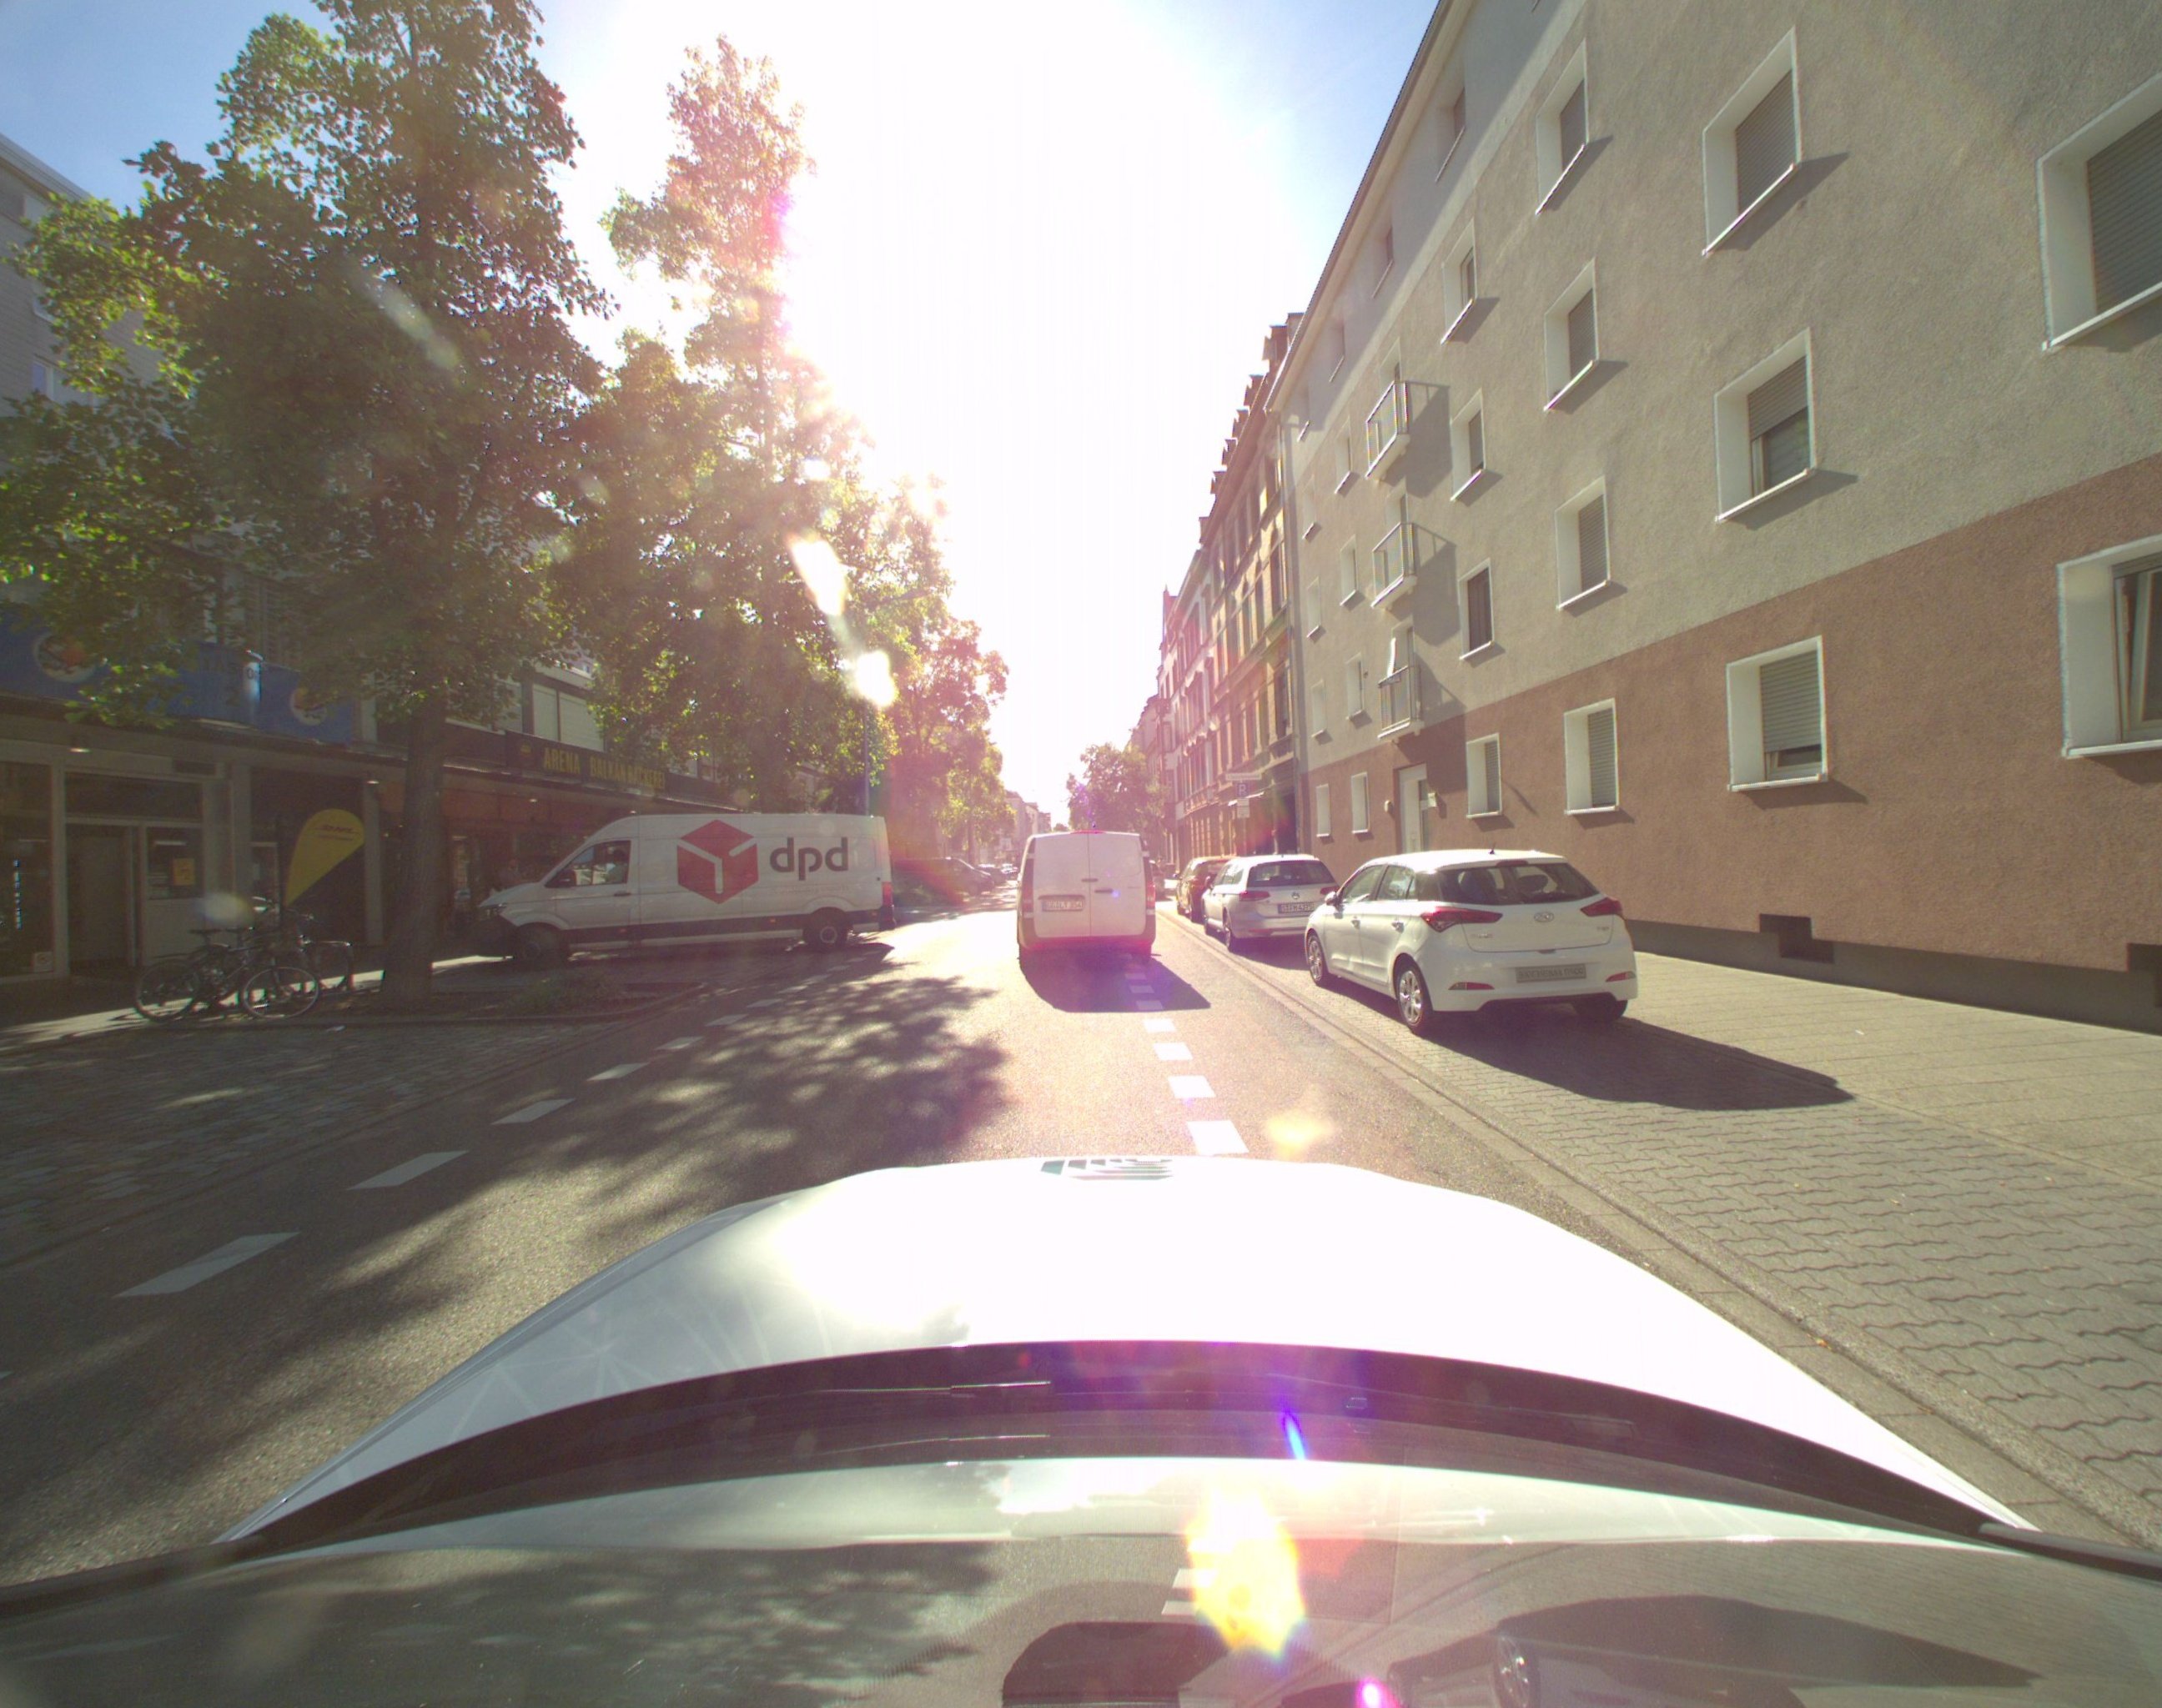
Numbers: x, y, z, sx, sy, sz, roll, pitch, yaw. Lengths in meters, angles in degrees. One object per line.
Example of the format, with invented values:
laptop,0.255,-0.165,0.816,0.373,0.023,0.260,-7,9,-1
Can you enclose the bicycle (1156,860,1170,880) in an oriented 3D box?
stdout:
bicycle,5.056,1.011,50.256,0.534,1.148,2.124,-8,-2,1

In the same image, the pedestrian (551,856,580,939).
pedestrian,-12.273,1.021,19.402,0.389,1.934,0.361,-2,-1,0

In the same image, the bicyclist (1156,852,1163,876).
bicyclist,4.803,0.602,50.079,0.359,1.477,0.531,-1,-1,3

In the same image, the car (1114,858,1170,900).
car,2.280,0.908,31.455,1.734,1.451,3.997,-2,0,-1

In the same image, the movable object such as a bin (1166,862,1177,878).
movable object such as a bin,6.101,1.078,54.800,0.636,1.069,0.639,-2,-1,-1

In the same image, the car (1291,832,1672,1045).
car,3.509,0.647,8.024,1.727,1.486,3.792,-4,0,-2

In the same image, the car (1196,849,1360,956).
car,3.185,0.717,14.117,1.779,1.460,4.518,-3,-1,1

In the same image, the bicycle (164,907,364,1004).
bicycle,-9.900,1.214,9.899,1.861,1.107,0.587,0,-1,2

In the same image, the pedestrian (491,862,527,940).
pedestrian,-13.345,1.079,18.992,0.483,1.782,0.427,-2,-1,-4

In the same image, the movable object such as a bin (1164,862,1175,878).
movable object such as a bin,6.082,1.085,55.955,0.628,1.069,0.640,-1,-1,0

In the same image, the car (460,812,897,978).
car,-6.906,0.571,14.792,6.615,2.474,1.983,-2,0,-26

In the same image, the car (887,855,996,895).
car,-7.183,1.082,42.354,5.277,1.974,2.014,-1,-1,-2

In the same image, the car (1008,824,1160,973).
car,-0.167,0.586,13.119,1.918,1.914,4.877,-1,0,-6

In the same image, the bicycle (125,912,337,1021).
bicycle,-9.351,1.224,8.996,1.712,1.117,0.623,0,-1,2

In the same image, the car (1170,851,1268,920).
car,3.293,0.725,20.142,1.704,1.480,3.709,-2,-1,-1

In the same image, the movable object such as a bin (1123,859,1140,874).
movable object such as a bin,4.518,1.113,73.109,1.028,1.348,1.116,-3,-1,38

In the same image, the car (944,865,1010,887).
car,-7.162,1.501,56.448,4.289,1.460,1.762,-1,-1,1

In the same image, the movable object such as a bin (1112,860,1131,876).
movable object such as a bin,3.586,1.252,71.861,1.279,1.348,1.095,-2,-1,-43

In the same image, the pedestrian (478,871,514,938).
pedestrian,-13.181,1.122,18.358,0.467,1.473,0.420,-2,-1,-4

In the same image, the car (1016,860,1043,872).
car,-7.590,1.768,119.767,3.980,1.640,1.997,-2,-1,-5
